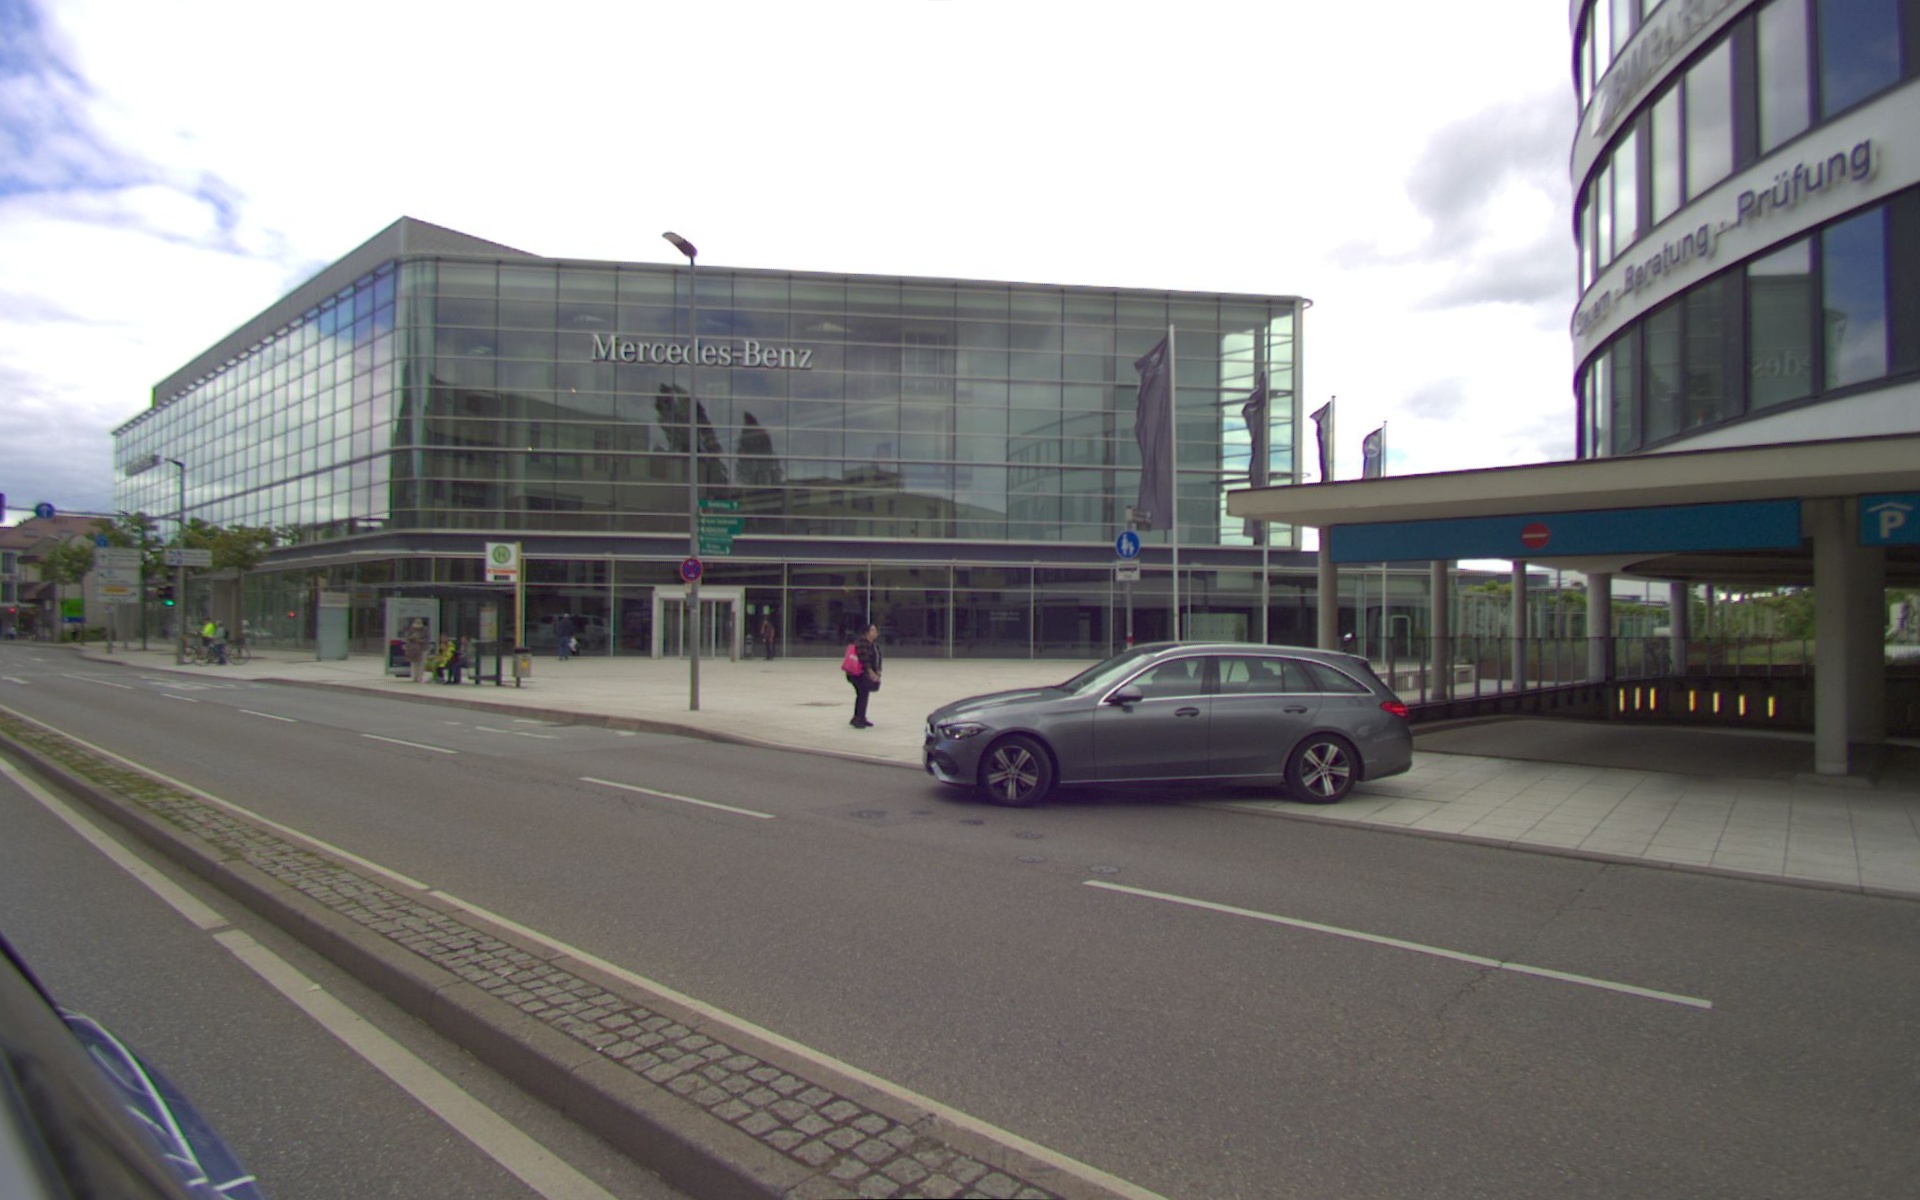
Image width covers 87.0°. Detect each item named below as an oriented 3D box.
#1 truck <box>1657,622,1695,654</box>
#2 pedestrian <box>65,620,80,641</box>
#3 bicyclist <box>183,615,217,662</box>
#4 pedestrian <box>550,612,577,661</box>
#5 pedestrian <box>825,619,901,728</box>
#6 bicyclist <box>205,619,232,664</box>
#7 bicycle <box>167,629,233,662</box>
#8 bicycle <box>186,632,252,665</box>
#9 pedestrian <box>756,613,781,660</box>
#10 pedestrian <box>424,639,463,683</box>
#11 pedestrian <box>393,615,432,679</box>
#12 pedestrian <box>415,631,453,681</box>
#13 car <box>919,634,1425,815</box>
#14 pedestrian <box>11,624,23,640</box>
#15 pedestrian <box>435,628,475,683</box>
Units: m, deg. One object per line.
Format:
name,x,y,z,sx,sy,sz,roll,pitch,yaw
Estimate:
truck,57.744,3.009,81.557,2.384,2.299,6.358,-1,0,36
pedestrian,-67.859,2.333,77.373,0.693,1.636,0.693,-2,-3,41
bicyclist,-30.178,1.508,40.195,0.762,1.813,0.748,-1,0,-5
pedestrian,-15.978,1.466,40.807,0.740,1.960,0.902,0,-1,2
pedestrian,-1.462,1.076,15.258,0.820,1.579,0.814,0,-1,-44
bicyclist,-28.007,1.563,38.229,0.771,1.661,0.640,-1,0,-34
bicycle,-30.172,1.813,40.200,2.000,1.215,0.748,-1,0,-5
bicycle,-27.987,1.833,38.239,1.973,1.139,0.640,-1,0,-34
pedestrian,-7.994,1.517,42.247,0.747,1.960,0.680,-1,-1,28
pedestrian,-13.111,1.560,25.697,0.576,1.084,0.677,-1,-4,40
pedestrian,-14.222,1.217,26.306,0.568,1.643,0.686,1,-3,0
pedestrian,-13.565,1.443,26.102,0.576,1.263,0.677,-1,-3,40
car,1.881,1.102,9.834,4.401,1.426,1.905,-1,0,-6
pedestrian,-90.641,3.050,97.282,0.577,1.527,0.552,0,-2,9
pedestrian,-12.606,1.383,25.260,0.576,1.330,0.677,-1,-4,40
